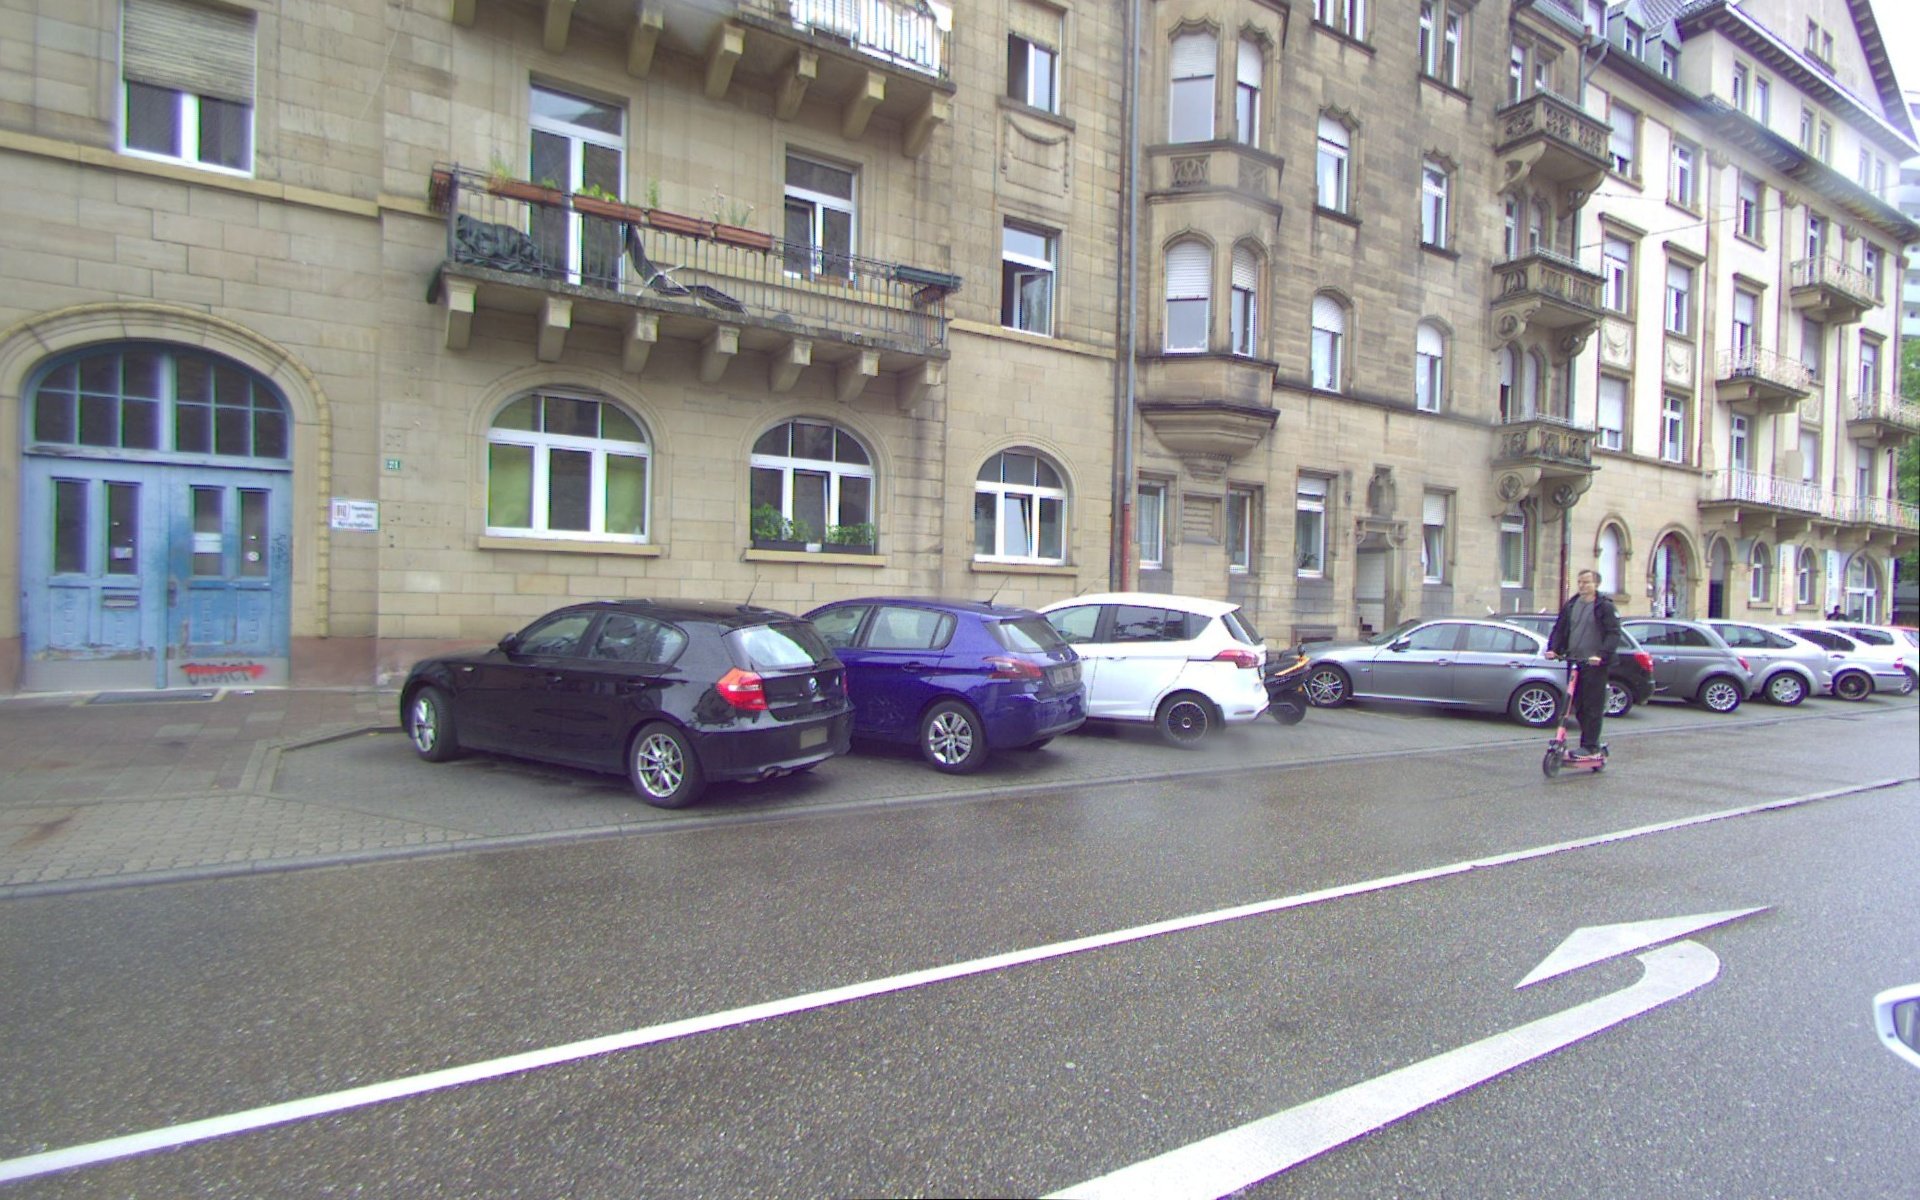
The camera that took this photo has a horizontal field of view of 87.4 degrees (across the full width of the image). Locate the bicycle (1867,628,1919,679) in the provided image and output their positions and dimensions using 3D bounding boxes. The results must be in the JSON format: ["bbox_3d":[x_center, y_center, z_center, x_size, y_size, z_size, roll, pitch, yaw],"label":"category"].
[{"bbox_3d":[25.056,1.411,26.390,0.516,1.283,1.754,1,0,-31],"label":"bicycle"}]

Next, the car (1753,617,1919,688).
[{"bbox_3d":[21.818,1.246,24.612,3.337,1.578,1.705,1,0,21],"label":"car"}]

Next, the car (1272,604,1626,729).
[{"bbox_3d":[6.953,0.891,14.809,4.457,1.565,1.689,1,0,17],"label":"car"}]

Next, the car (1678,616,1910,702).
[{"bbox_3d":[17.298,1.183,21.034,3.337,1.578,1.705,1,0,21],"label":"car"}]

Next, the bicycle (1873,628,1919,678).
[{"bbox_3d":[25.513,1.414,26.681,0.492,1.283,1.801,1,0,-31],"label":"bicycle"}]

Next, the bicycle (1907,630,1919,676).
[{"bbox_3d":[27.693,1.504,28.026,0.601,1.283,1.754,1,0,-31],"label":"bicycle"}]

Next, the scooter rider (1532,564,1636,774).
[{"bbox_3d":[6.102,0.653,9.842,0.498,1.961,0.707,1,0,-32],"label":"scooter rider"}]

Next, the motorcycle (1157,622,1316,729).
[{"bbox_3d":[3.528,0.927,12.834,1.837,1.177,0.633,4,1,24],"label":"motorcycle"}]

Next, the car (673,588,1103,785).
[{"bbox_3d":[-0.773,0.708,10.017,3.973,1.594,1.795,1,0,31],"label":"car"}]

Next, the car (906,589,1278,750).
[{"bbox_3d":[1.562,0.701,11.615,3.964,1.576,1.799,1,0,20],"label":"car"}]

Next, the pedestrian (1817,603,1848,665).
[{"bbox_3d":[28.827,1.113,33.182,0.647,2.040,0.565,1,0,-30],"label":"pedestrian"}]

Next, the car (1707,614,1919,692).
[{"bbox_3d":[19.321,1.161,22.884,3.337,1.578,1.705,1,0,21],"label":"car"}]

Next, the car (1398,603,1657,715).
[{"bbox_3d":[9.190,0.899,16.589,3.484,1.619,1.605,1,0,21],"label":"car"}]

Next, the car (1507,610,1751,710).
[{"bbox_3d":[11.840,1.012,18.028,3.337,1.578,1.652,1,0,21],"label":"car"}]

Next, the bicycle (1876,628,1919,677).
[{"bbox_3d":[26.031,1.436,27.139,0.492,1.283,1.801,1,0,-31],"label":"bicycle"}]

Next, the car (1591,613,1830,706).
[{"bbox_3d":[14.414,1.090,19.511,3.337,1.578,1.705,1,0,21],"label":"car"}]

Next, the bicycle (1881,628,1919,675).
[{"bbox_3d":[26.801,1.439,27.851,0.601,1.283,1.754,1,0,-31],"label":"bicycle"}]

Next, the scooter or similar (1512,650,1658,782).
[{"bbox_3d":[6.161,1.097,9.887,1.370,1.181,0.697,1,-1,-33],"label":"scooter or similar"}]

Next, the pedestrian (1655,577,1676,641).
[{"bbox_3d":[20.480,0.273,29.153,0.343,1.847,0.364,2,-1,-32],"label":"pedestrian"}]

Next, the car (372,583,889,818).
[{"bbox_3d":[-2.762,0.661,8.343,3.969,1.532,1.796,1,0,27],"label":"car"}]
